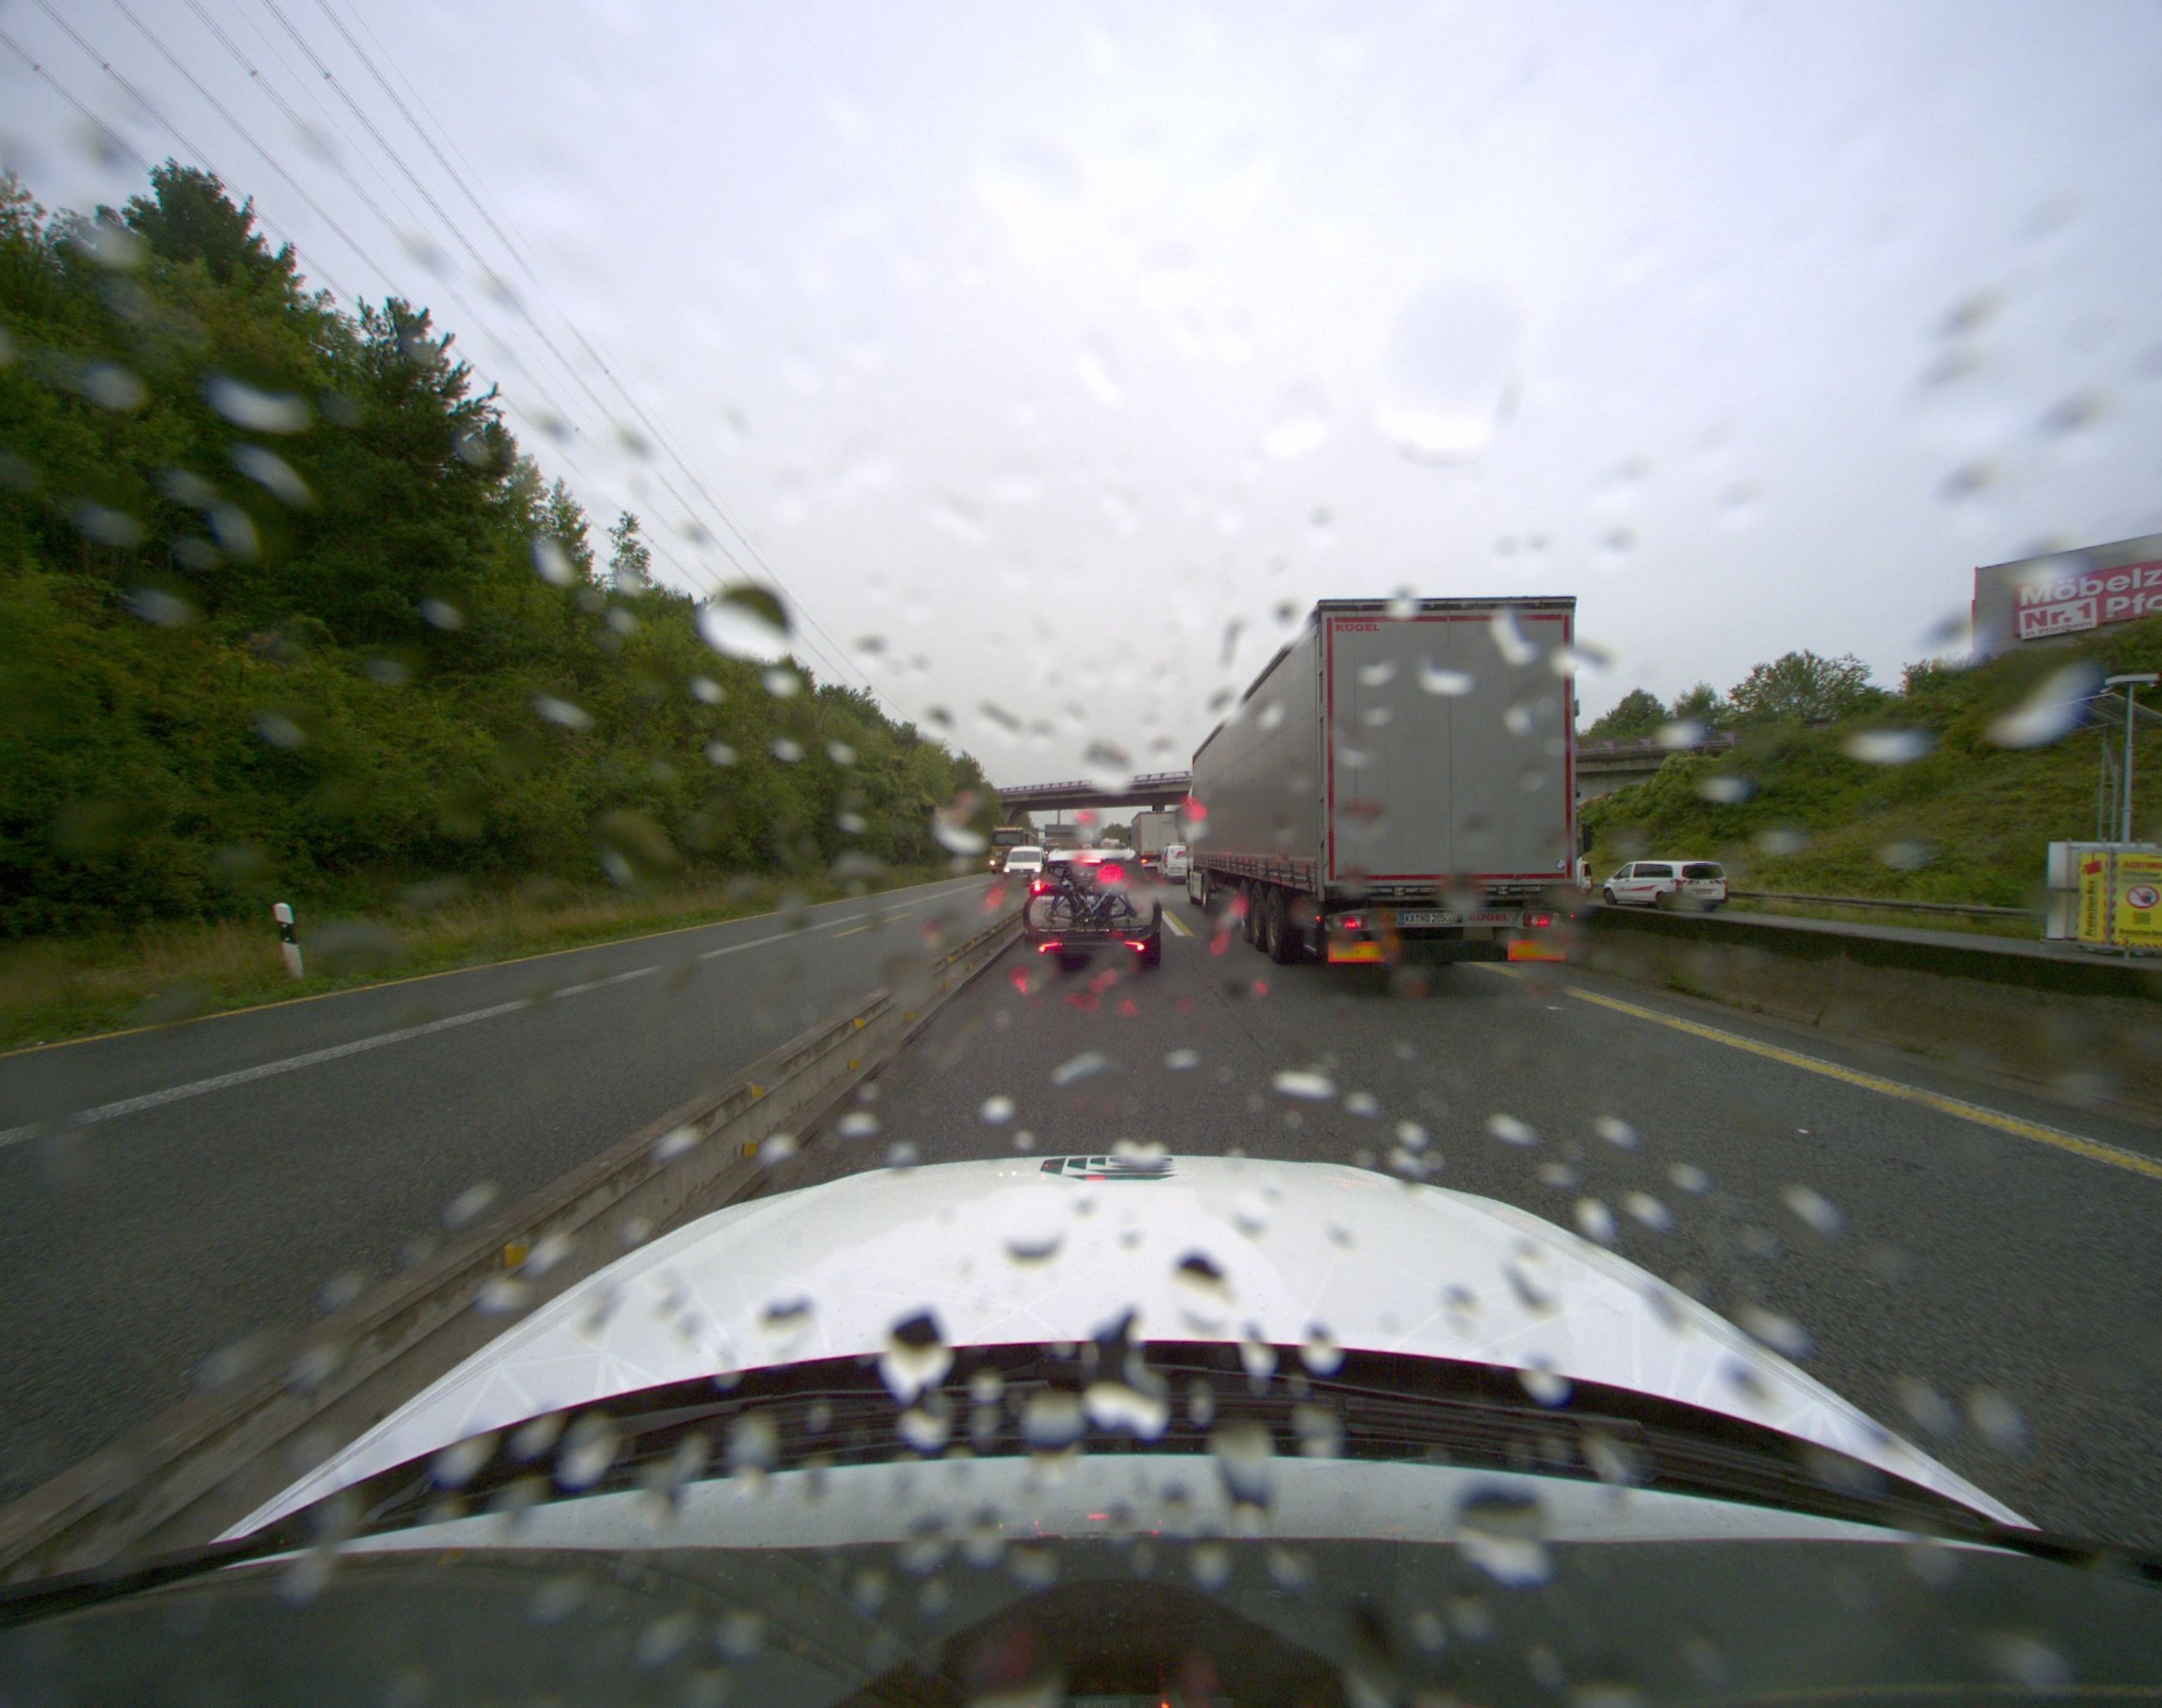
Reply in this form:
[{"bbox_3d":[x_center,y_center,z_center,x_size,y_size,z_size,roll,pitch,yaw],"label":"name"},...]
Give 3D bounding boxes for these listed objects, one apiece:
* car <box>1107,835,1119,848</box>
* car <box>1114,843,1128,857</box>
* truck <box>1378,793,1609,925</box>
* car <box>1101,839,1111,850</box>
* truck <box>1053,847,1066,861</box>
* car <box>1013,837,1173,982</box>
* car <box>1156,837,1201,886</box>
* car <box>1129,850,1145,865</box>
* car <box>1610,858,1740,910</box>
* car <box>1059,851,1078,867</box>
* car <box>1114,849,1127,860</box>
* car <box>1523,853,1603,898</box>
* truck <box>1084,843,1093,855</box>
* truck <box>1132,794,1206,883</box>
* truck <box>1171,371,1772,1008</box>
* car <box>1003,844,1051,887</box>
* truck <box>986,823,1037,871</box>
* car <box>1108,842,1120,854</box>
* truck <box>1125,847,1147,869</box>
[{"bbox_3d":[5.877,-2.213,149.707,2.230,2.307,4.575,-1,0,2],"label":"car"},{"bbox_3d":[6.141,-0.616,125.321,1.985,2.013,4.003,-1,0,2],"label":"car"},{"bbox_3d":[11.536,0.142,24.086,2.511,3.131,9.123,-1,0,2],"label":"truck"},{"bbox_3d":[5.004,-1.817,164.336,1.985,2.126,4.529,-1,0,3],"label":"car"},{"bbox_3d":[-5.993,0.012,225.366,2.670,3.656,12.319,-1,0,3],"label":"truck"},{"bbox_3d":[0.283,0.637,11.596,1.802,1.637,4.640,-1,0,4],"label":"car"},{"bbox_3d":[4.522,0.340,38.203,1.664,2.180,4.536,-1,0,1],"label":"car"},{"bbox_3d":[5.844,0.332,85.575,1.632,1.497,3.668,-1,0,3],"label":"car"},{"bbox_3d":[23.049,1.104,31.877,1.933,1.829,4.733,-1,0,5],"label":"car"},{"bbox_3d":[-1.193,0.473,77.966,1.680,1.409,3.930,-1,0,1],"label":"car"},{"bbox_3d":[5.438,0.067,111.919,1.632,1.497,3.668,-1,0,3],"label":"car"},{"bbox_3d":[23.518,0.996,39.910,1.721,2.058,4.129,-1,0,5],"label":"car"},{"bbox_3d":[2.360,-1.434,244.923,2.525,3.352,12.054,-1,0,2],"label":"truck"},{"bbox_3d":[6.319,-0.967,62.694,4.722,5.673,20.395,-1,0,4],"label":"truck"},{"bbox_3d":[4.618,-1.442,17.518,3.963,5.673,20.389,-1,0,3],"label":"truck"},{"bbox_3d":[-2.420,0.515,37.468,1.804,1.824,4.636,-1,0,1],"label":"car"},{"bbox_3d":[-5.147,-0.454,62.899,2.525,3.352,12.054,-1,0,2],"label":"truck"},{"bbox_3d":[5.619,-0.990,136.917,1.985,2.013,4.003,-1,0,2],"label":"car"},{"bbox_3d":[5.234,0.365,77.765,1.986,2.013,4.002,-1,0,2],"label":"truck"}]
